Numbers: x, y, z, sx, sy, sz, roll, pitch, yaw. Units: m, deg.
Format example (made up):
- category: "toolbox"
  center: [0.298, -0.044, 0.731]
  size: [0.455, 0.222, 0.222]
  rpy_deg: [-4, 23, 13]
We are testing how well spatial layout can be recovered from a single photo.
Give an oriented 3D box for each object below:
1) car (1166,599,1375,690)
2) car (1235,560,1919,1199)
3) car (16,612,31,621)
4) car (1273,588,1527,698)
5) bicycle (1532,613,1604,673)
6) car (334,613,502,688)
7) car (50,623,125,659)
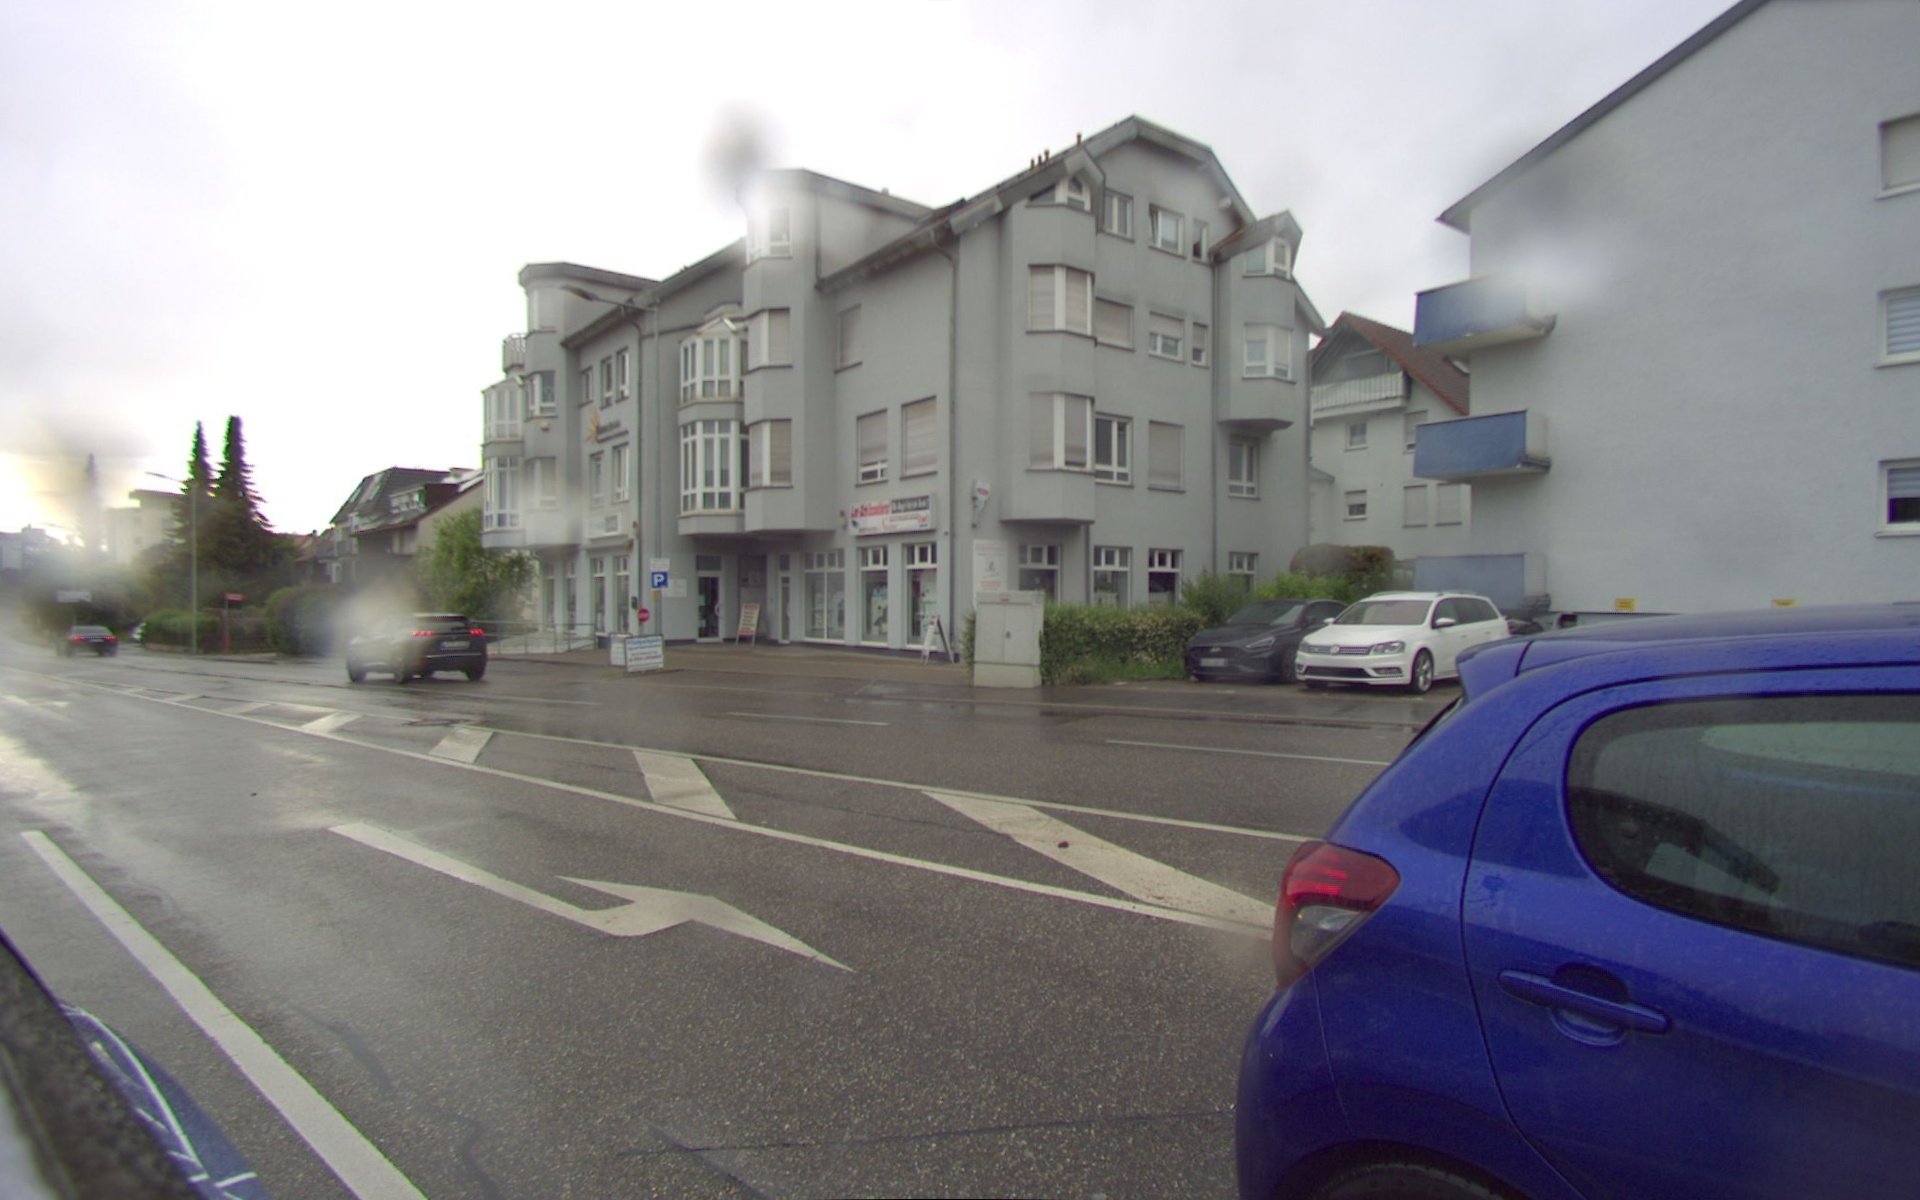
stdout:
- category: "car"
  center: [5.496, 0.688, 17.660]
  size: [1.851, 1.366, 3.941]
  rpy_deg: [-1, 0, 45]
- category: "car"
  center: [2.240, 0.635, 1.206]
  size: [3.362, 1.423, 1.489]
  rpy_deg: [-2, -1, 41]
- category: "car"
  center: [-169.894, 2.987, 183.618]
  size: [1.721, 1.686, 3.599]
  rpy_deg: [-1, 0, -38]
- category: "car"
  center: [6.985, 0.602, 15.815]
  size: [4.685, 1.471, 1.883]
  rpy_deg: [0, -2, -42]
- category: "bicycle"
  center: [11.146, 0.791, 18.571]
  size: [1.065, 1.061, 0.343]
  rpy_deg: [-2, -1, 41]
- category: "car"
  center: [-12.328, 1.069, 22.937]
  size: [3.995, 1.523, 1.948]
  rpy_deg: [-1, 0, 39]
- category: "car"
  center: [-42.683, 1.990, 49.461]
  size: [4.533, 1.637, 1.974]
  rpy_deg: [-2, 0, 39]
